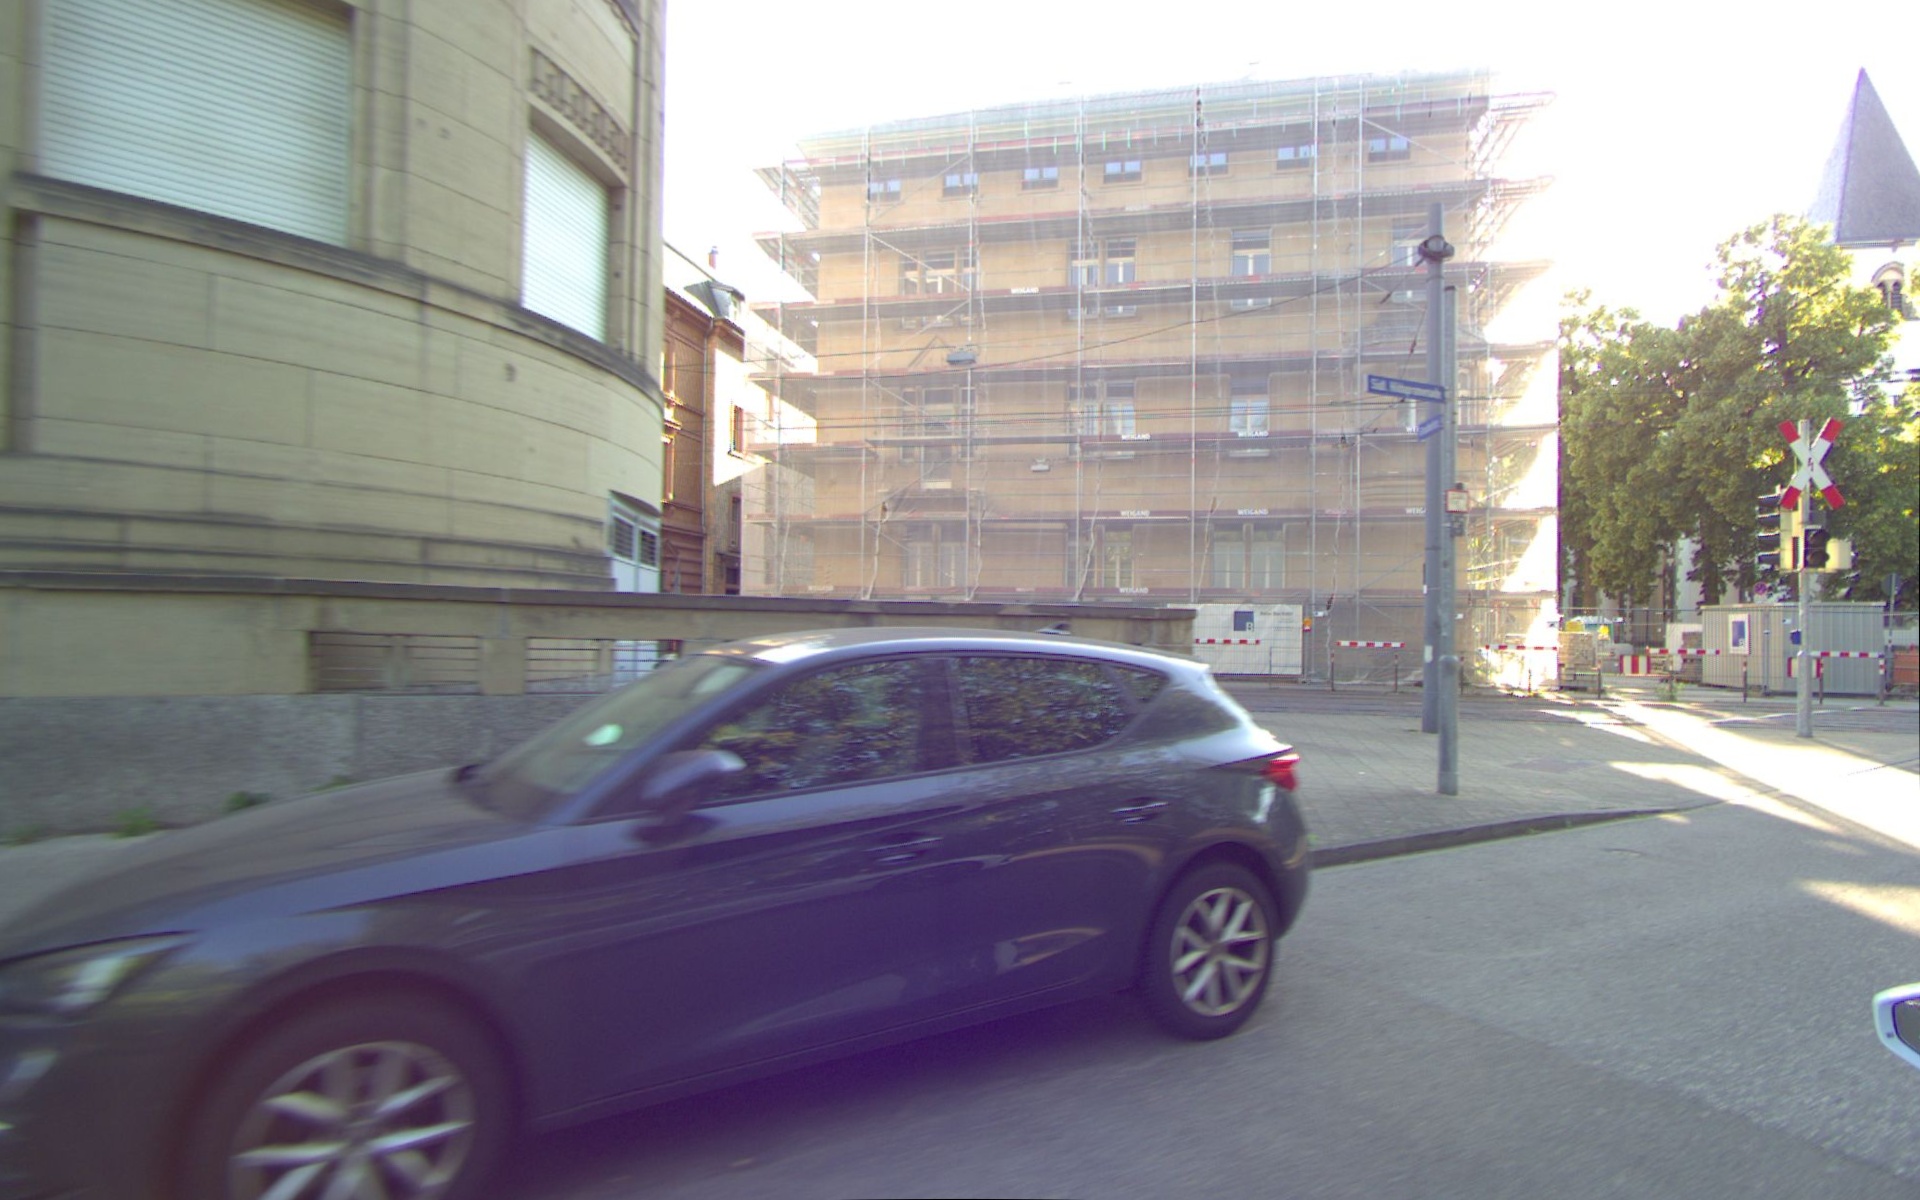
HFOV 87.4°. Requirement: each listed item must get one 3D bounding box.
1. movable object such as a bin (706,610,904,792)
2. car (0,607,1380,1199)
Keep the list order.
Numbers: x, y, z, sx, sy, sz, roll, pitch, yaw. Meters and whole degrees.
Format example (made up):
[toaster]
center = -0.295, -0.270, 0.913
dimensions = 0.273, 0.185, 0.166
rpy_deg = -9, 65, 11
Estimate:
[movable object such as a bin]
center = -1.431, 0.858, 9.120
dimensions = 1.602, 1.505, 1.145
rpy_deg = 1, -1, -19
[car]
center = -0.614, 0.814, 3.630
dimensions = 4.156, 1.467, 1.737
rpy_deg = 2, -2, -28
